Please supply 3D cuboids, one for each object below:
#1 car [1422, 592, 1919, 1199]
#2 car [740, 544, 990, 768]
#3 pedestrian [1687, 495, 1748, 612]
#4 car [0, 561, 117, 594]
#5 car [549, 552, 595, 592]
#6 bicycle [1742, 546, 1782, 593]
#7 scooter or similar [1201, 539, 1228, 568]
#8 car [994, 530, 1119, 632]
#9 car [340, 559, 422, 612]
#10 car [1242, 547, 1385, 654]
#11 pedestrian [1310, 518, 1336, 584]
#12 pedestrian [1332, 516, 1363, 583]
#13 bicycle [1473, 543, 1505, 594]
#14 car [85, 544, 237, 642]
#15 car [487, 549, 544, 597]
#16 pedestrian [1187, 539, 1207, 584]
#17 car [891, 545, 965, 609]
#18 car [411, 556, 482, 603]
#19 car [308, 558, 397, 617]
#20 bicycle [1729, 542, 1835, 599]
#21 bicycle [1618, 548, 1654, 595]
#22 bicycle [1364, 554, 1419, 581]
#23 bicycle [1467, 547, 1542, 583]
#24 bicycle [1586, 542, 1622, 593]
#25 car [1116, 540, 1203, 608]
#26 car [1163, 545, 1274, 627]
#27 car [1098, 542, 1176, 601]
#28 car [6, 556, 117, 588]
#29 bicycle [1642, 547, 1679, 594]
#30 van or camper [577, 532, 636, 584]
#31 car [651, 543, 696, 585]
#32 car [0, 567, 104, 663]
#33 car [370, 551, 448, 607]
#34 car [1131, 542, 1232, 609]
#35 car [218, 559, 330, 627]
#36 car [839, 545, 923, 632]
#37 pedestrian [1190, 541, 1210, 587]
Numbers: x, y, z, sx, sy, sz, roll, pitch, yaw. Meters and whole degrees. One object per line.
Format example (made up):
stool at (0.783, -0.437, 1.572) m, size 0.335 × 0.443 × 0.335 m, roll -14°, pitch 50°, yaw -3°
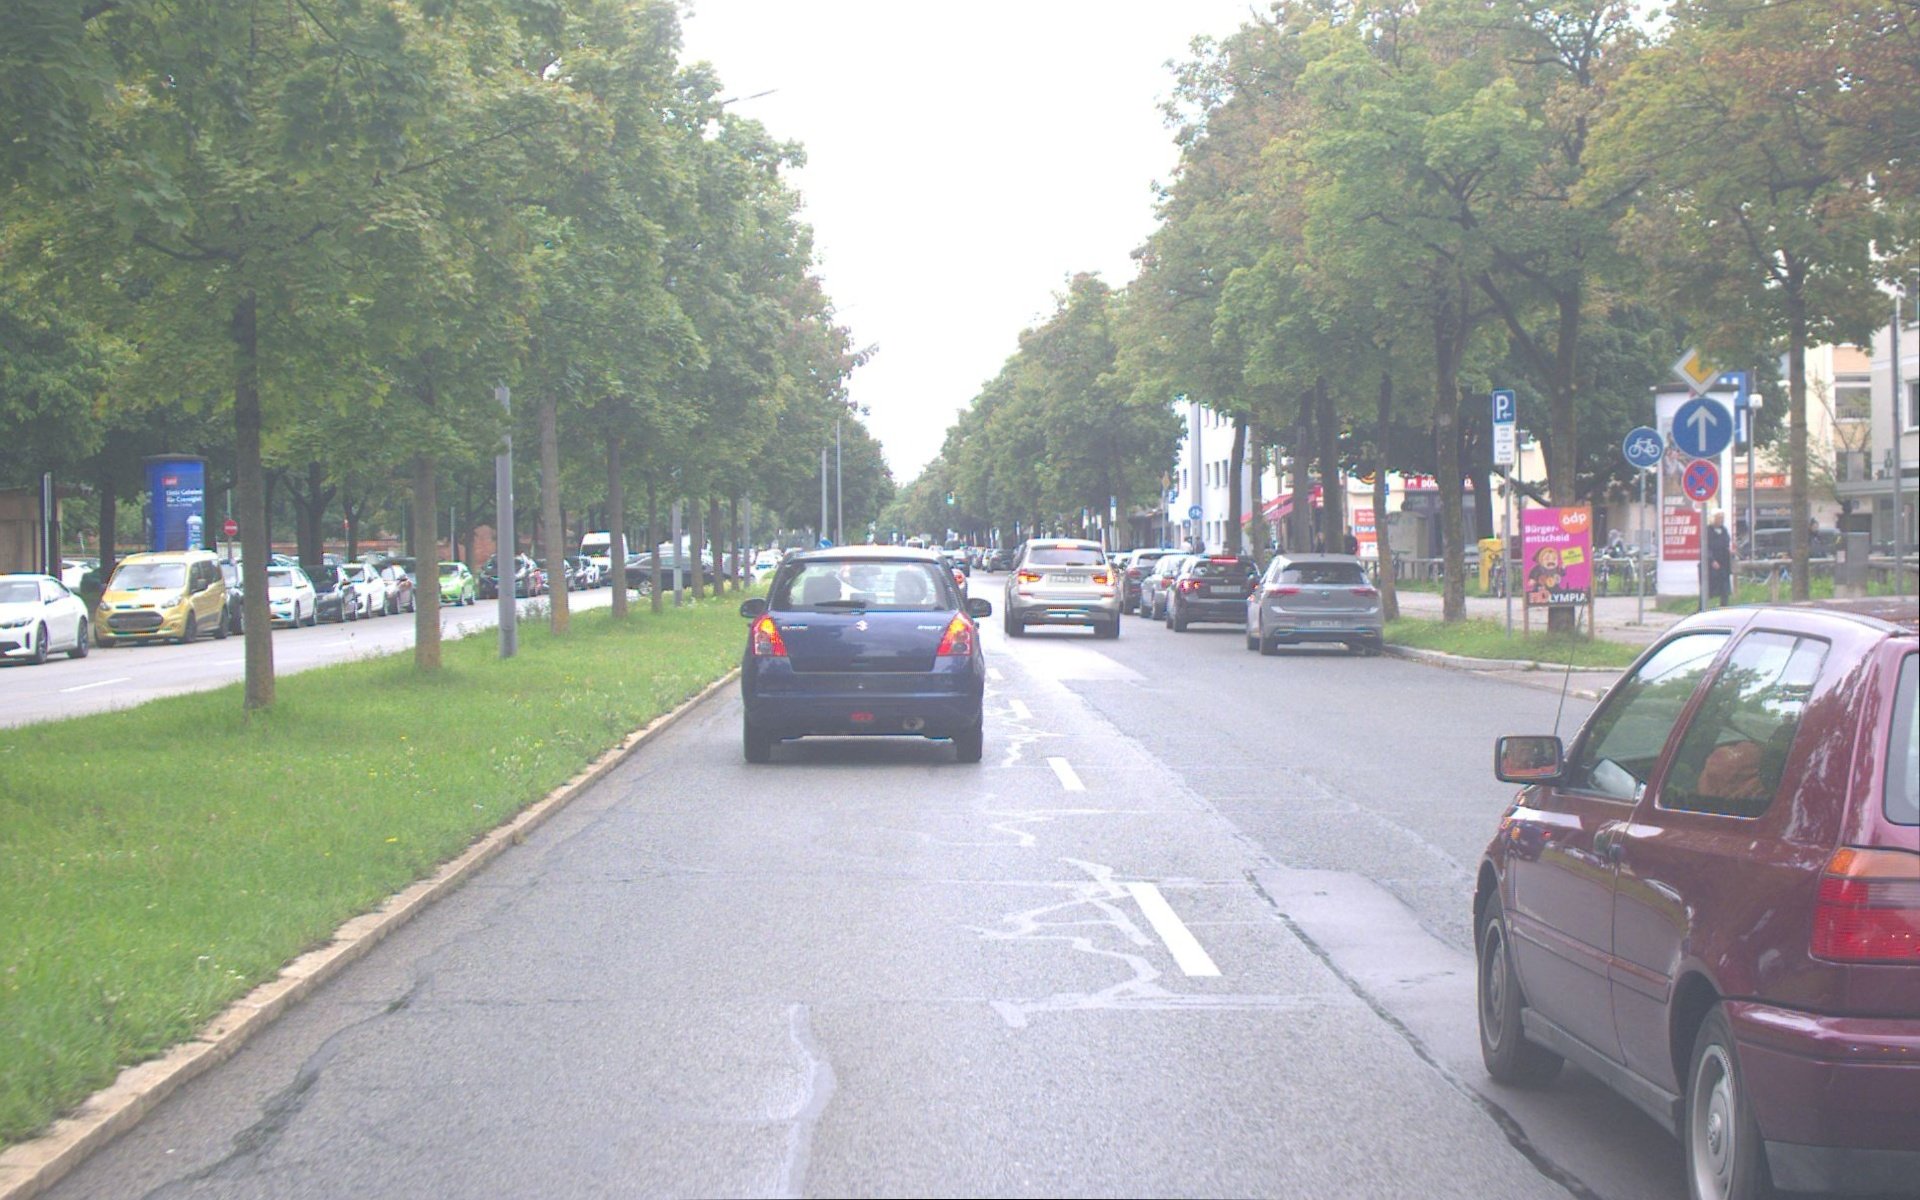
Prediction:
car at (2.292, 0.704, 8.339) m, size 1.682 × 1.379 × 3.919 m, roll 1°, pitch 1°, yaw -2°
car at (-0.701, 0.342, 25.134) m, size 1.682 × 1.496 × 3.919 m, roll 0°, pitch 1°, yaw -2°
pedestrian at (11.260, -0.682, 51.101) m, size 0.639 × 1.724 × 0.601 m, roll 0°, pitch 0°, yaw -32°
car at (-33.238, -0.821, 126.482) m, size 4.413 × 1.197 × 1.670 m, roll 0°, pitch 0°, yaw 31°
car at (-16.939, -1.226, 150.165) m, size 1.632 × 1.735 × 3.879 m, roll 0°, pitch 1°, yaw -2°
bicycle at (18.018, -0.698, 77.243) m, size 0.431 × 1.025 × 1.884 m, roll -2°, pitch 1°, yaw 0°
scooter or similar at (11.802, -2.166, 159.786) m, size 1.033 × 1.303 × 2.755 m, roll -1°, pitch 1°, yaw 0°
car at (1.617, -0.353, 59.065) m, size 1.865 × 1.655 × 4.408 m, roll 1°, pitch 1°, yaw -2°
car at (-16.285, -0.425, 96.767) m, size 1.591 × 1.392 × 3.630 m, roll -2°, pitch 1°, yaw 1°
car at (5.137, -0.023, 50.404) m, size 1.682 × 1.460 × 4.115 m, roll 1°, pitch 1°, yaw 0°
pedestrian at (10.402, -1.410, 98.506) m, size 0.588 × 1.883 × 0.902 m, roll -1°, pitch 0°, yaw -2°
pedestrian at (11.100, -1.438, 98.537) m, size 0.729 × 1.883 × 0.919 m, roll -1°, pitch 0°, yaw -2°
bicycle at (12.099, -0.735, 78.632) m, size 0.431 × 1.129 × 1.884 m, roll -2°, pitch 1°, yaw 0°
car at (-15.741, -0.170, 67.954) m, size 1.814 × 1.777 × 4.818 m, roll -2°, pitch 1°, yaw 0°
car at (-16.584, -1.017, 128.336) m, size 1.716 × 1.735 × 3.879 m, roll 0°, pitch 1°, yaw -2°
pedestrian at (10.536, -1.701, 152.600) m, size 0.794 × 2.007 × 1.006 m, roll -1°, pitch 1°, yaw 0°
car at (-0.760, -0.552, 81.206) m, size 1.682 × 1.458 × 3.734 m, roll 0°, pitch 1°, yaw -1°
car at (-16.532, -0.682, 110.886) m, size 1.547 × 1.404 × 3.879 m, roll -2°, pitch 1°, yaw 2°
car at (-16.189, -0.356, 91.709) m, size 1.607 × 1.439 × 4.279 m, roll -2°, pitch 1°, yaw -1°
bicycle at (15.439, -0.551, 64.601) m, size 1.877 × 1.025 × 0.433 m, roll -2°, pitch 1°, yaw -6°
bicycle at (15.177, -0.651, 77.204) m, size 0.431 × 1.025 × 1.884 m, roll -2°, pitch 1°, yaw 0°
bicycle at (15.100, -1.132, 120.357) m, size 1.847 × 0.954 × 0.557 m, roll 0°, pitch 0°, yaw -2°
bicycle at (14.259, -0.918, 90.015) m, size 1.877 × 0.936 × 0.558 m, roll 0°, pitch 0°, yaw 1°
bicycle at (14.472, -0.736, 77.294) m, size 0.431 × 1.097 × 1.884 m, roll -2°, pitch 1°, yaw 0°
car at (4.645, -0.628, 80.591) m, size 1.716 × 1.528 × 4.276 m, roll 1°, pitch 1°, yaw -1°
car at (4.790, -0.283, 64.141) m, size 1.750 × 1.460 × 4.176 m, roll 1°, pitch 1°, yaw 0°
car at (4.658, -0.767, 90.869) m, size 1.682 × 1.460 × 4.137 m, roll 2°, pitch 1°, yaw -2°
car at (-41.659, -1.301, 159.475) m, size 4.691 × 1.440 × 1.673 m, roll 0°, pitch 0°, yaw 0°
bicycle at (15.726, -0.672, 77.193) m, size 0.431 × 1.025 × 1.884 m, roll -2°, pitch 1°, yaw 0°
van or camper at (-17.395, -2.076, 169.674) m, size 2.117 × 2.473 × 7.449 m, roll 0°, pitch 1°, yaw 0°
car at (-13.727, -1.714, 164.814) m, size 1.799 × 1.927 × 4.994 m, roll -2°, pitch 1°, yaw -1°
car at (-15.752, 0.247, 57.160) m, size 1.857 × 1.467 × 4.875 m, roll -2°, pitch 1°, yaw -1°
car at (-16.407, -0.644, 102.553) m, size 1.690 × 1.581 × 4.371 m, roll -2°, pitch 1°, yaw -1°
car at (4.774, -0.550, 74.558) m, size 1.635 × 1.381 × 4.245 m, roll 1°, pitch 1°, yaw -4°
car at (-16.036, -0.192, 80.587) m, size 1.762 × 1.445 × 4.533 m, roll -2°, pitch 1°, yaw -1°
car at (-1.404, -0.217, 60.434) m, size 1.444 × 1.478 × 3.107 m, roll 0°, pitch 1°, yaw -2°
pedestrian at (10.669, -1.602, 153.054) m, size 0.794 × 2.007 × 1.006 m, roll -1°, pitch 1°, yaw 0°
